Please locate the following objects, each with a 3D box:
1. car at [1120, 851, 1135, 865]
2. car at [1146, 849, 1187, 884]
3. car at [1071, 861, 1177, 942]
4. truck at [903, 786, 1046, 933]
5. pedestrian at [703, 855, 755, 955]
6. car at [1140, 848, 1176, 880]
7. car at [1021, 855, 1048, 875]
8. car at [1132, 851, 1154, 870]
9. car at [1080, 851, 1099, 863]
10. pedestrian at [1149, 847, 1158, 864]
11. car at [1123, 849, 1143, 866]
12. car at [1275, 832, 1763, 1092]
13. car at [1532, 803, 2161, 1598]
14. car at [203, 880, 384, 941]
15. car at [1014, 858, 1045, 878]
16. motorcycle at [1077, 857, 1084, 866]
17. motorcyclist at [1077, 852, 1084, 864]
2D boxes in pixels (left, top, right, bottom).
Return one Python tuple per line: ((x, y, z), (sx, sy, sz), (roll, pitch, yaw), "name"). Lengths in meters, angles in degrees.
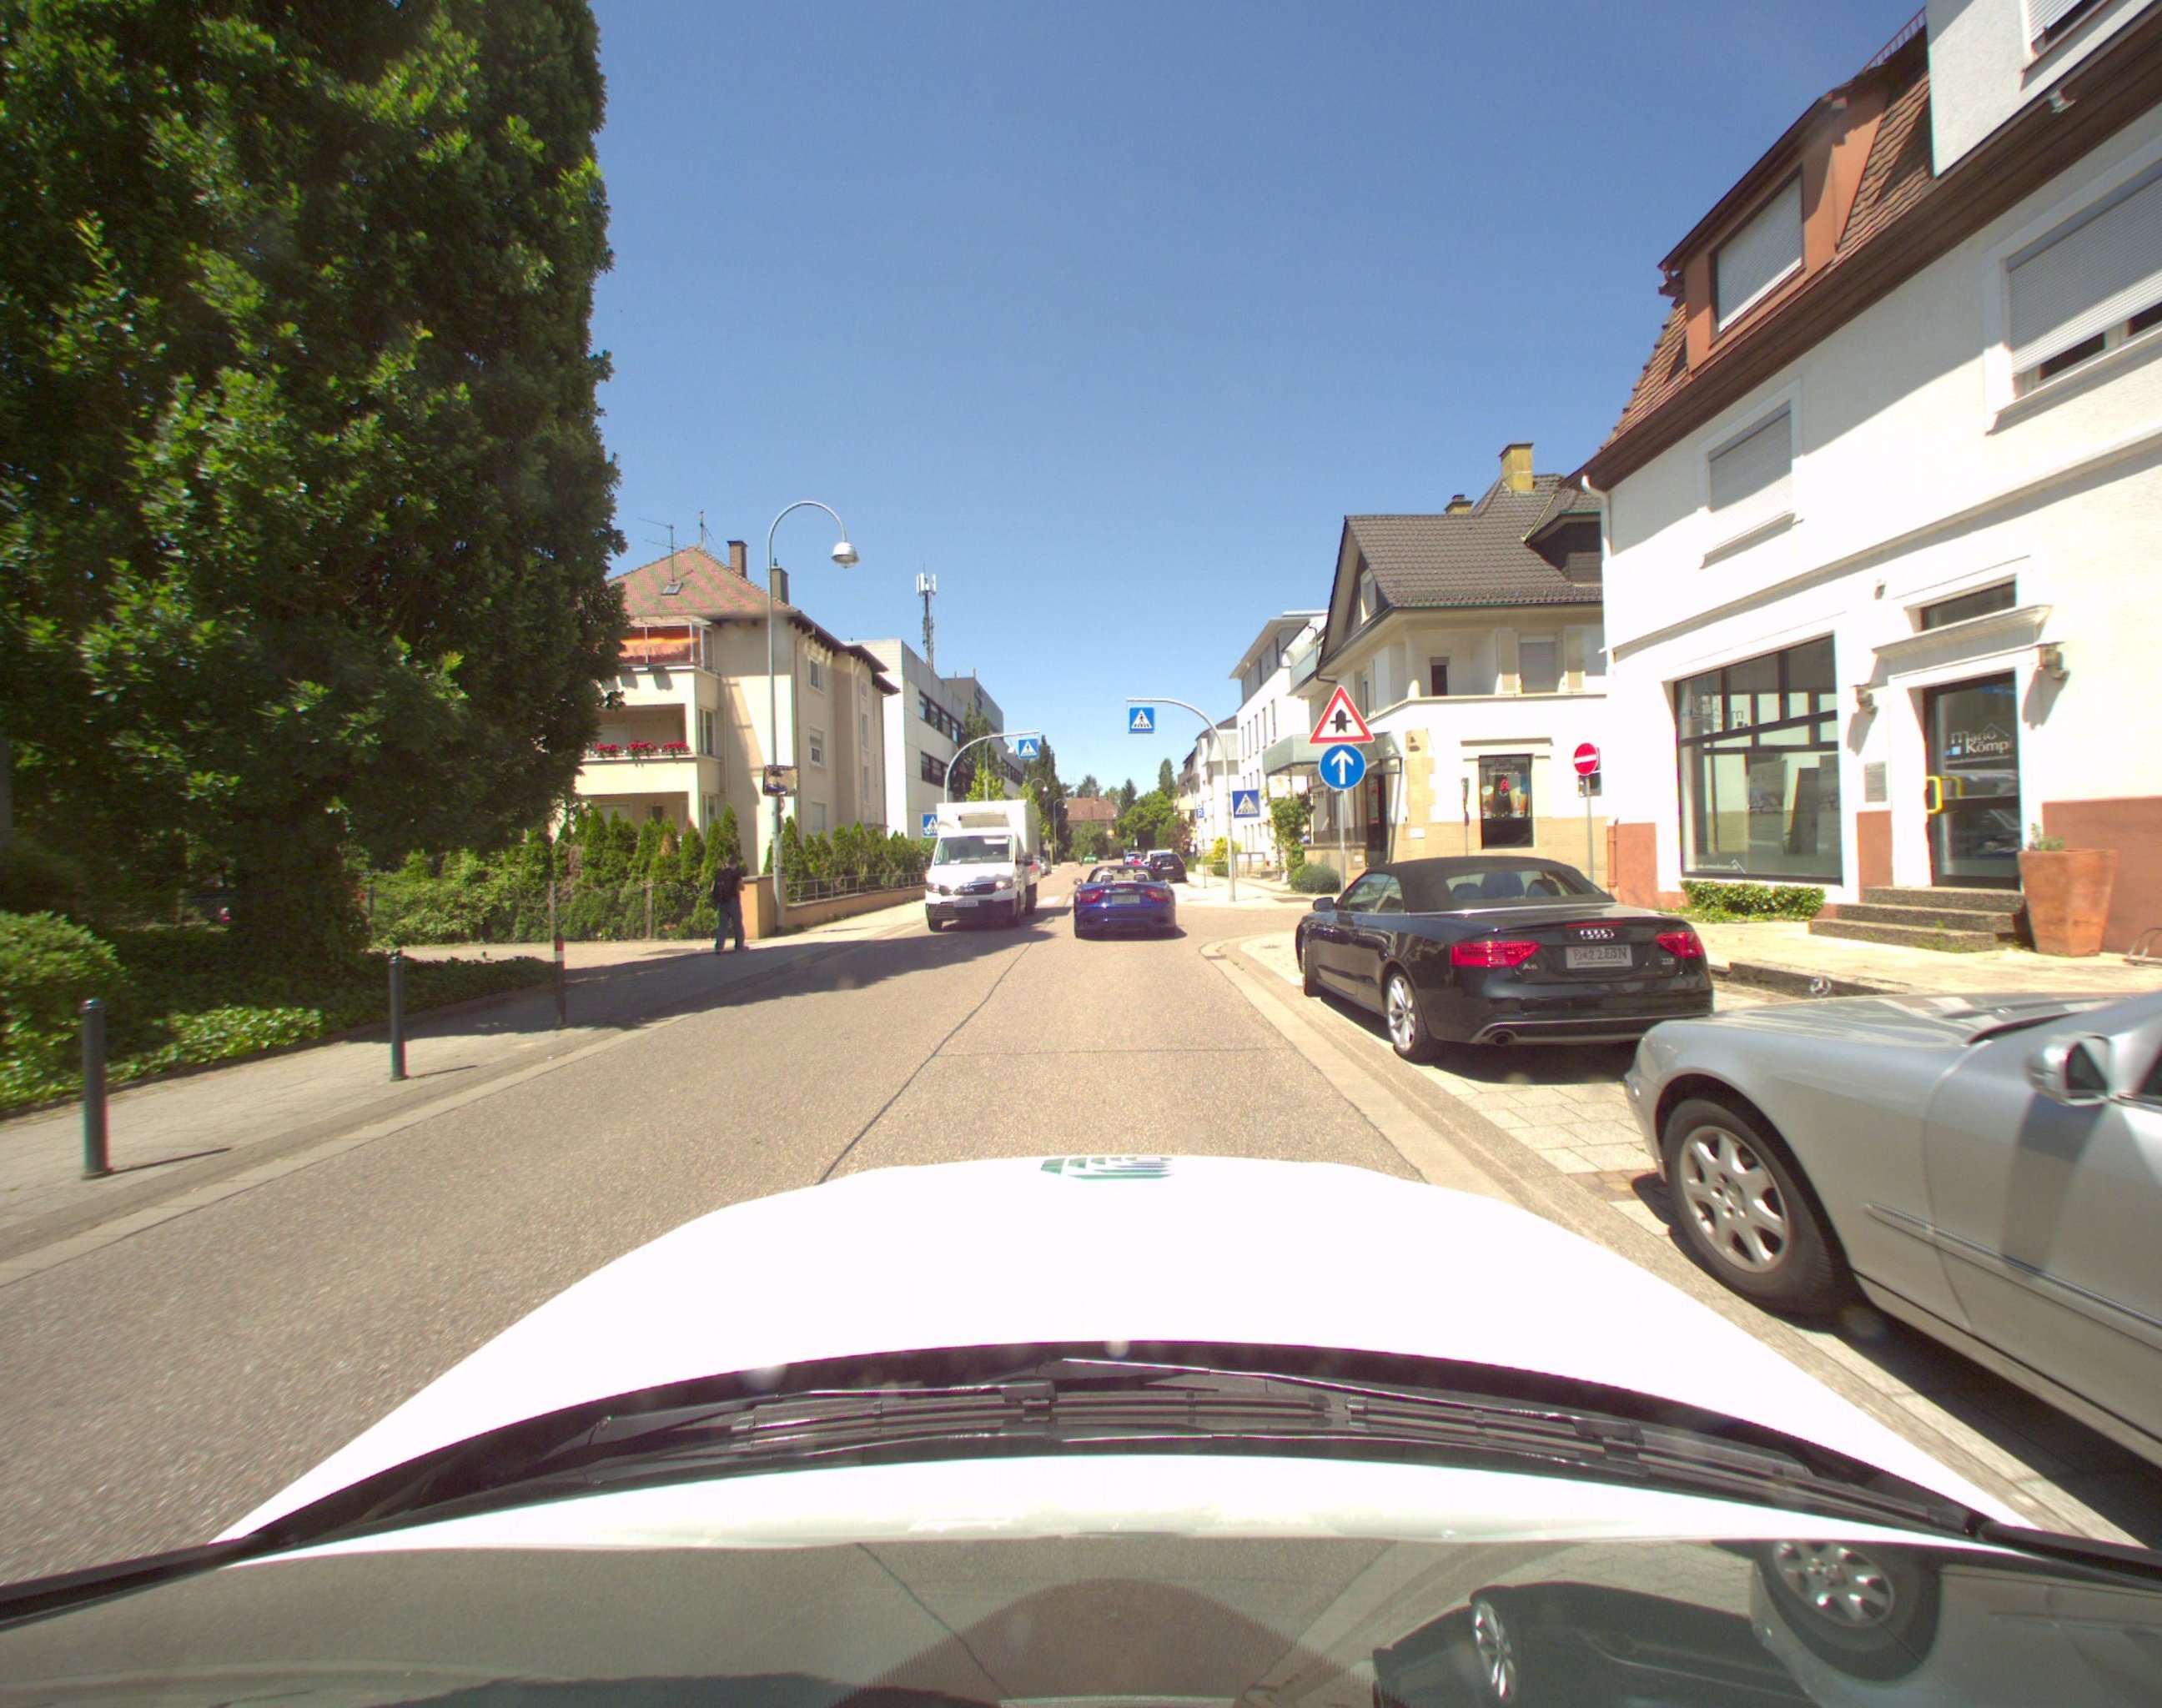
((5.639, 0.470, 99.714), (1.625, 1.446, 4.399), (-5, 0, 2), "car")
((4.198, 0.580, 40.611), (1.698, 1.556, 4.750), (-2, 0, 2), "car")
((0.828, 0.855, 16.618), (1.820, 1.337, 4.702), (-1, 0, 2), "car")
((-2.386, 0.116, 20.325), (2.410, 2.983, 6.260), (-3, 0, 2), "truck")
((-6.150, 0.872, 14.251), (0.534, 1.685, 0.709), (-2, -1, 1), "pedestrian")
((4.374, 0.541, 46.769), (1.698, 1.666, 4.582), (-3, 0, 2), "car")
((-3.753, 0.878, 66.357), (1.815, 1.512, 4.291), (-2, 0, 2), "car")
((5.148, 0.542, 68.056), (1.597, 1.440, 3.856), (-5, 0, 3), "car")
((1.218, 0.396, 119.077), (1.824, 1.588, 4.083), (0, 1, -13), "car")
((7.608, 0.140, 85.910), (0.738, 1.669, 0.706), (-5, 0, 0), "pedestrian")
((5.446, 0.358, 85.436), (1.836, 1.619, 4.430), (-4, 0, 2), "car")
((3.153, 0.646, 7.177), (1.820, 1.426, 4.702), (-4, 0, 2), "car")
((2.862, 0.620, 1.204), (1.737, 1.468, 4.854), (-4, 0, 2), "car")
((-22.105, 1.537, 23.061), (1.705, 1.420, 3.418), (-2, 0, 1), "car")
((-3.822, 1.018, 61.106), (1.815, 1.411, 4.579), (-1, 0, 2), "car")
((-0.034, 0.910, 104.216), (0.696, 1.107, 1.791), (-4, 0, 2), "motorcycle")
((-0.066, 0.538, 104.020), (0.696, 1.433, 0.707), (-4, 0, 2), "motorcyclist")
